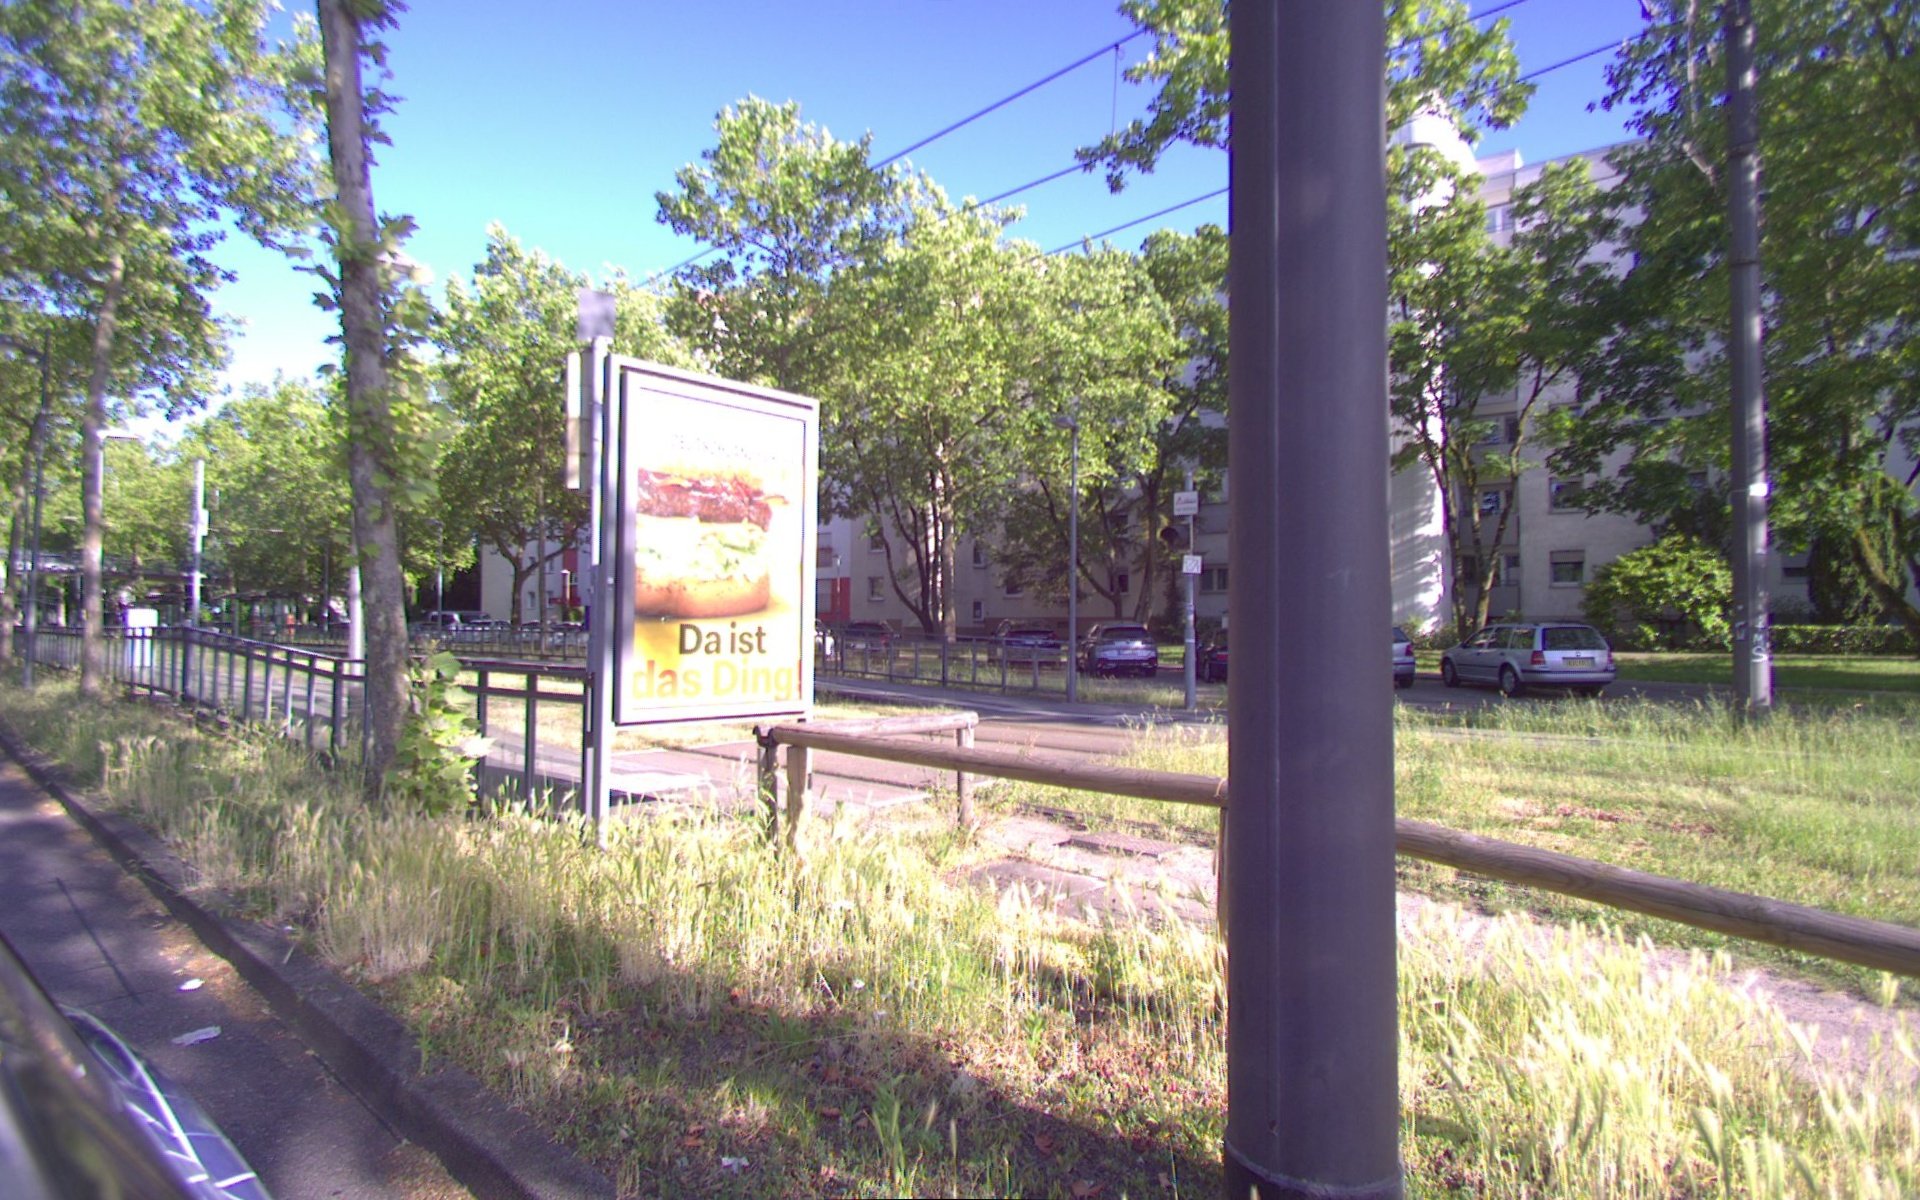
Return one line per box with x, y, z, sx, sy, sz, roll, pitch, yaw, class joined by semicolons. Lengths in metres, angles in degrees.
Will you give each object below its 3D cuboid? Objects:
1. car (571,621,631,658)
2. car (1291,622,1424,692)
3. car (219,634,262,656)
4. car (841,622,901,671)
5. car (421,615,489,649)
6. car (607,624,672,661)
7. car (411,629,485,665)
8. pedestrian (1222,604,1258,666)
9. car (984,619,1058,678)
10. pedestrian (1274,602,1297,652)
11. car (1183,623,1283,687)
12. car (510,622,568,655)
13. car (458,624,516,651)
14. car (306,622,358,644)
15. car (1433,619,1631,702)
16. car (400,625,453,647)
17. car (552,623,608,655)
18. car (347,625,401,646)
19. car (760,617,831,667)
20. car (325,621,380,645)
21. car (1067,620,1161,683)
-16.627;1.800;46.962;1.445;1.519;3.393;-1;0;3;car
9.130;1.265;23.557;1.553;1.431;3.620;-1;-1;-1;car
-53.206;3.277;74.821;4.100;1.523;1.746;-1;-2;41;car
-3.002;1.548;34.666;1.538;1.439;3.761;-1;0;3;car
-28.424;1.768;57.124;1.843;1.826;4.047;0;-1;0;car
-14.026;1.845;44.482;1.470;1.425;3.880;-1;0;3;car
-23.473;2.109;46.351;1.785;1.534;4.333;1;-2;-45;car
8.126;1.013;29.383;0.755;1.770;0.752;-1;-2;41;pedestrian
1.731;1.367;29.793;1.669;1.499;4.003;-1;0;-4;car
11.774;0.972;36.634;0.634;1.770;0.516;-1;-2;39;pedestrian
6.750;1.322;25.343;1.572;1.360;3.922;-1;0;3;car
-21.171;1.894;51.052;1.539;1.436;3.489;-3;0;-2;car
-25.826;2.005;55.400;1.605;1.414;3.488;0;-1;-1;car
-44.969;2.346;72.523;1.578;1.538;3.737;0;-1;-3;car
11.537;1.155;20.755;1.685;1.454;3.978;-1;0;-2;car
-33.029;2.213;62.724;1.459;1.311;3.488;0;-1;-1;car
-18.551;1.891;49.531;1.459;1.339;3.488;-2;0;-1;car
-37.534;2.257;64.880;1.459;1.330;3.488;0;-1;-1;car
-5.992;1.491;37.216;1.791;1.607;3.997;-1;0;3;car
-40.809;2.205;68.038;1.578;1.582;3.830;0;-1;-3;car
4.127;1.338;27.723;1.650;1.469;4.004;-1;0;-4;car
